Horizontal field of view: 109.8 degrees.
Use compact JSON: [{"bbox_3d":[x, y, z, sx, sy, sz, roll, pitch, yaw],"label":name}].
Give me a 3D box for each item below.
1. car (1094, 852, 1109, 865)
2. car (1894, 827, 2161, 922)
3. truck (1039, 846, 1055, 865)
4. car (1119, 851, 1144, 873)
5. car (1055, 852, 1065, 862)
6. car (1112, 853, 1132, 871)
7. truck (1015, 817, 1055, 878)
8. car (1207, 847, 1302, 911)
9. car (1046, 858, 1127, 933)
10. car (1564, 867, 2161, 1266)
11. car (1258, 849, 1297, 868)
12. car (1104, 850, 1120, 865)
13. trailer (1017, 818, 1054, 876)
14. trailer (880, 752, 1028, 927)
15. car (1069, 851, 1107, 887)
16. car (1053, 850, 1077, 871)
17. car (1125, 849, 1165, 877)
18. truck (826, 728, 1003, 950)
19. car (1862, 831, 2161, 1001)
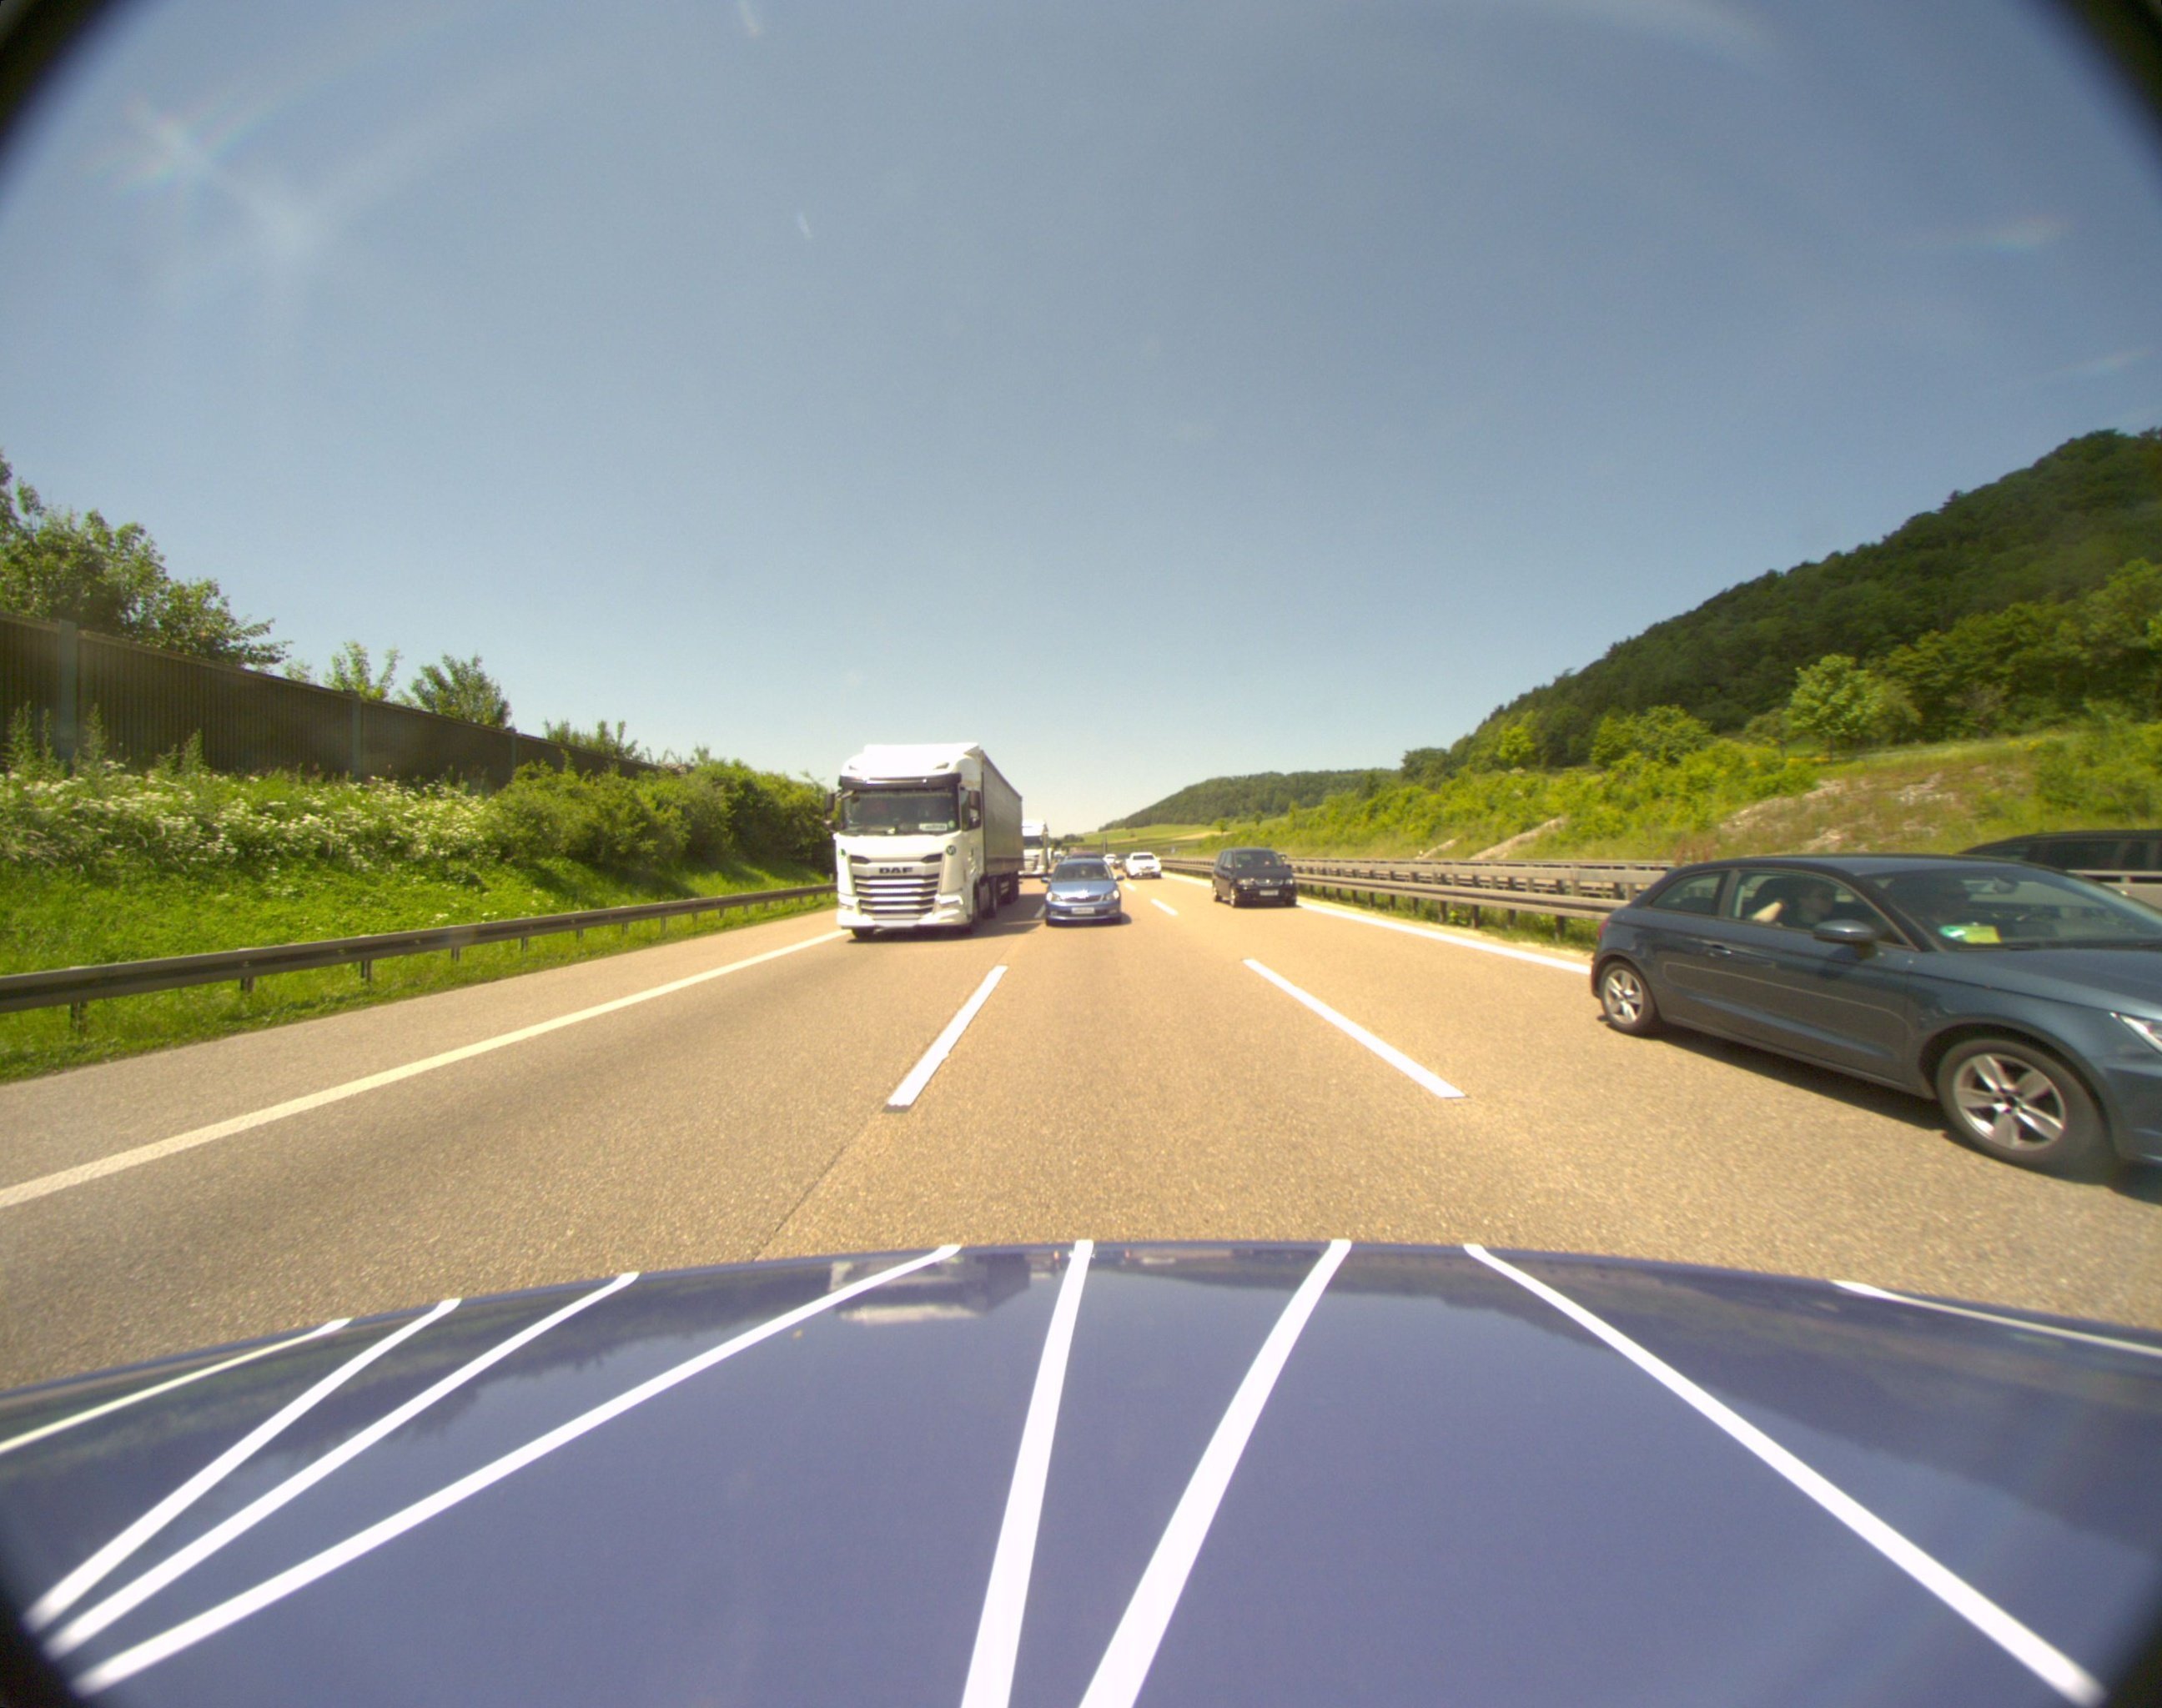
[{"bbox_3d":[2.868,0.608,105.286,1.998,1.702,4.000,-2,1,3],"label":"car"},{"bbox_3d":[19.765,0.326,15.356,1.829,1.635,4.544,-1,0,1],"label":"car"},{"bbox_3d":[-4.336,0.210,97.279,1.836,2.267,6.593,-2,1,-1],"label":"truck"},{"bbox_3d":[4.227,0.662,64.113,1.998,1.692,4.000,-2,1,3],"label":"car"},{"bbox_3d":[-4.614,0.700,167.286,1.999,2.002,3.999,-2,1,0],"label":"car"},{"bbox_3d":[4.194,0.770,77.867,1.998,1.702,4.000,-2,1,3],"label":"car"},{"bbox_3d":[-3.279,-0.500,55.323,2.531,4.065,6.078,-2,1,-2],"label":"truck"},{"bbox_3d":[4.828,0.633,21.744,1.805,1.625,4.446,-1,0,2],"label":"car"},{"bbox_3d":[0.107,0.873,18.106,1.660,1.481,4.652,-1,0,0],"label":"car"},{"bbox_3d":[4.898,0.825,4.396,1.693,1.380,4.000,-1,0,1],"label":"car"},{"bbox_3d":[15.772,0.325,61.209,1.998,1.447,4.527,-1,0,0],"label":"car"},{"bbox_3d":[3.919,0.396,95.333,1.998,1.702,4.000,-2,1,3],"label":"car"},{"bbox_3d":[-3.514,-0.558,61.494,2.544,4.085,13.623,-2,1,-2],"label":"trailer"},{"bbox_3d":[-3.387,-0.365,24.286,2.484,3.954,13.653,-1,0,-1],"label":"trailer"},{"bbox_3d":[0.399,0.692,38.435,1.736,1.674,4.198,-1,0,2],"label":"car"},{"bbox_3d":[-1.409,0.569,68.221,1.999,1.702,3.999,-2,1,0],"label":"car"},{"bbox_3d":[3.849,0.516,46.612,1.999,1.612,3.999,-2,1,-1],"label":"car"},{"bbox_3d":[-3.330,-0.282,16.923,2.484,3.954,6.380,-1,0,-1],"label":"truck"},{"bbox_3d":[12.102,0.627,8.964,1.760,1.751,3.934,-1,0,1],"label":"car"}]
